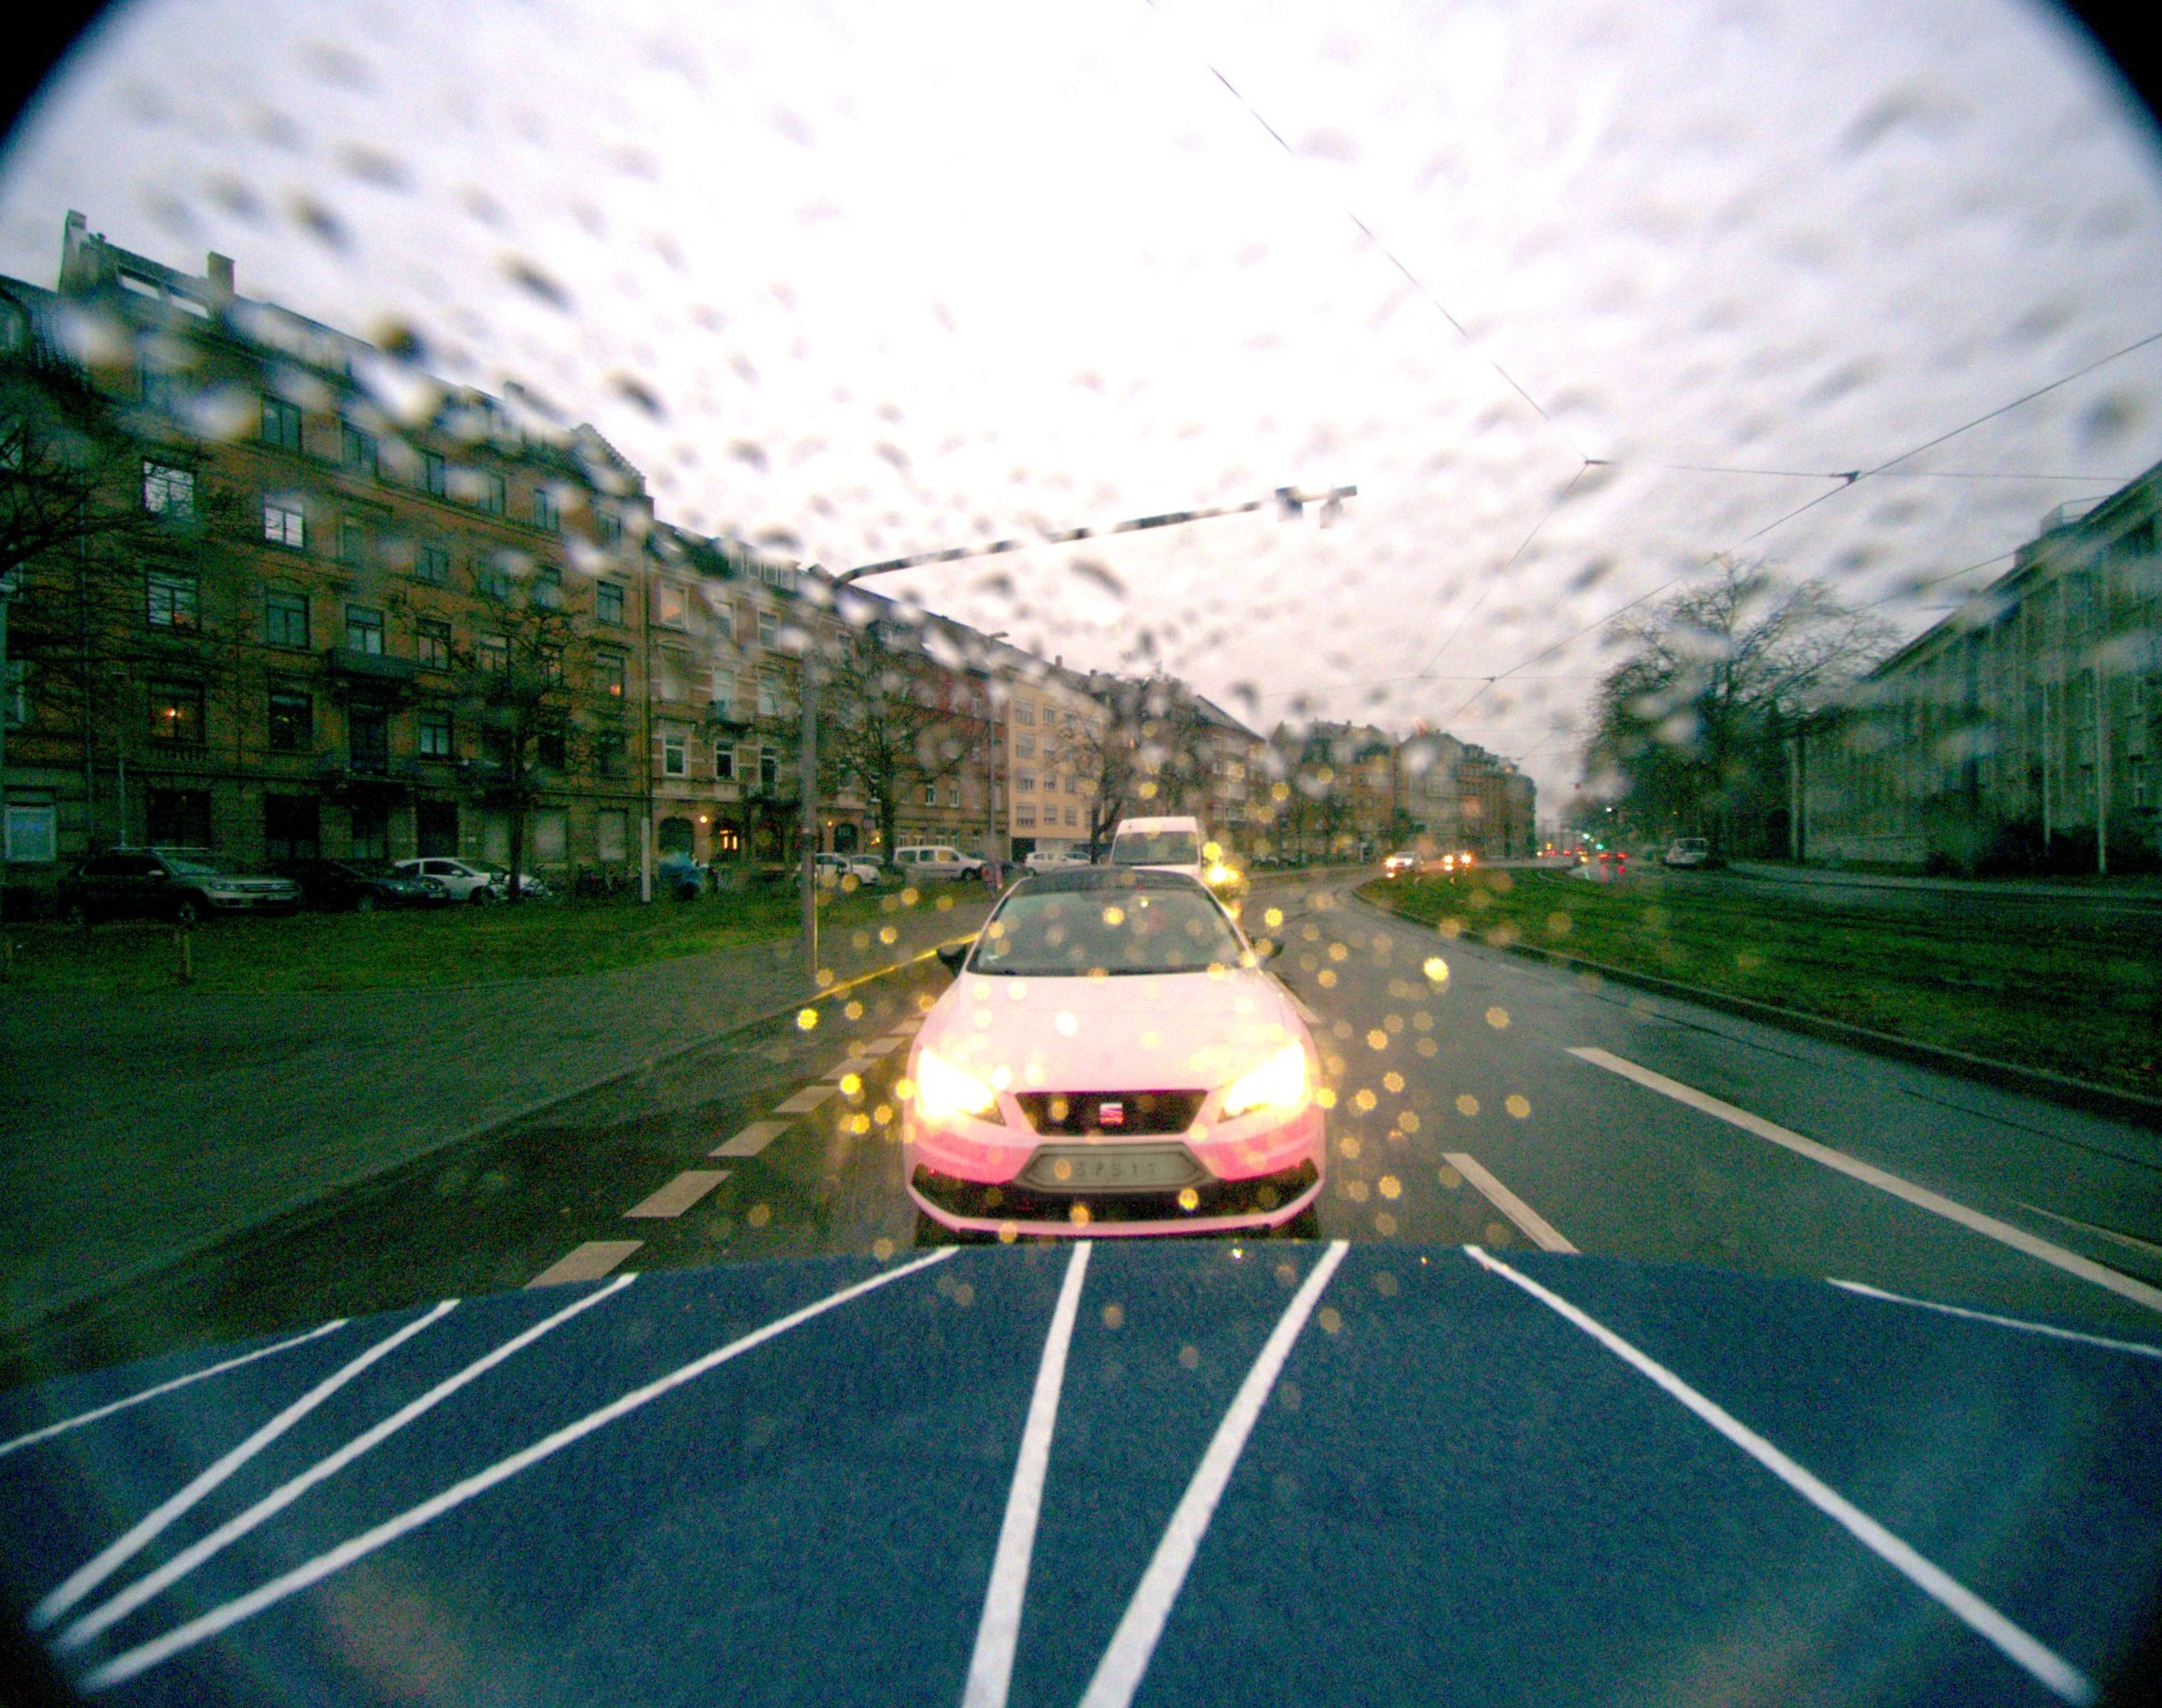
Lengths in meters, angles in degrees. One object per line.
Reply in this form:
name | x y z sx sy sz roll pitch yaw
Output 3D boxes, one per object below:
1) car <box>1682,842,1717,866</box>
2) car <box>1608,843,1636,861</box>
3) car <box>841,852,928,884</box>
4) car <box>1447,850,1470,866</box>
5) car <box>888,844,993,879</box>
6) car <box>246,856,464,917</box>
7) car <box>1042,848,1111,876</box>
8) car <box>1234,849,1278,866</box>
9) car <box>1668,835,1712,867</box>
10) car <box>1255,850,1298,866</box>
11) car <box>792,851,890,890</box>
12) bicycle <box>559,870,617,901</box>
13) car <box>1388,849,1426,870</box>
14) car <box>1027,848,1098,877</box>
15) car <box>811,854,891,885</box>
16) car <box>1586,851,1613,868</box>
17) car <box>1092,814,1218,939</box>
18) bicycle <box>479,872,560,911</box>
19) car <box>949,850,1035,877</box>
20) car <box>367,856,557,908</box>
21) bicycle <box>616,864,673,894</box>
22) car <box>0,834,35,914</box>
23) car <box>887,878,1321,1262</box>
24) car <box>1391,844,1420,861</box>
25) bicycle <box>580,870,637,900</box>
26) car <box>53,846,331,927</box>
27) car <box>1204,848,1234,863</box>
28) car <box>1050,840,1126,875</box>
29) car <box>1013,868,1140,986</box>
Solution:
car | 39.357 0.013 48.420 1.557 1.420 2.960 -1 1 36
car | 47.702 -0.211 66.952 1.658 1.392 4.532 -3 0 39
car | -8.792 0.625 34.154 3.430 1.343 1.664 -2 0 2
car | 35.546 0.388 71.542 1.836 1.477 3.528 -1 0 28
car | -6.693 0.329 36.510 4.659 1.583 1.778 1 1 3
car | -17.942 0.782 18.911 3.742 1.346 1.677 -2 -1 -2
car | -0.277 0.492 45.735 3.998 1.406 1.641 -3 0 -2
car | 15.920 0.306 69.170 3.760 1.346 1.603 -3 0 11
car | 41.849 -0.258 52.292 1.995 2.002 4.518 -3 0 35
car | 18.570 0.379 72.311 3.760 1.346 1.603 -3 0 11
car | -9.976 0.673 31.700 3.462 1.435 1.615 -2 0 6
bicycle | -16.188 1.047 24.938 2.165 0.960 0.627 -2 -2 28
car | 22.960 0.380 53.413 1.892 1.405 3.954 -1 0 32
car | -1.053 0.477 43.727 3.770 1.424 1.762 -3 0 9
car | -12.652 0.821 41.997 1.733 1.492 4.058 -3 -1 32
car | 50.311 0.517 73.796 1.822 1.426 4.664 -3 0 32
car | 1.898 0.437 17.352 2.127 2.366 5.643 -2 0 12
bicycle | -14.420 0.944 19.571 1.655 0.931 0.513 0 0 -35
car | -4.502 0.478 38.718 4.058 1.227 1.771 1 0 6
car | -17.184 0.744 21.230 3.856 1.329 1.698 -1 0 -1
bicycle | -15.111 0.850 26.287 2.165 0.960 0.627 0 1 28
car | -29.090 0.513 17.947 1.994 2.002 4.997 1 1 33
car | 0.164 0.957 4.965 1.715 1.404 3.680 -3 0 2
car | 31.724 -0.158 74.308 1.718 1.608 3.947 -1 0 37
bicycle | -15.866 1.059 25.483 2.165 0.960 0.627 -2 -2 28
car | -19.480 0.660 16.782 3.996 1.627 1.944 0 1 4
car | 14.600 0.124 80.397 1.470 1.534 3.880 0 1 38
car | 0.433 0.239 48.534 4.720 1.971 1.799 -2 0 -2
car | 0.049 0.962 11.206 1.589 1.418 3.135 -1 0 4
